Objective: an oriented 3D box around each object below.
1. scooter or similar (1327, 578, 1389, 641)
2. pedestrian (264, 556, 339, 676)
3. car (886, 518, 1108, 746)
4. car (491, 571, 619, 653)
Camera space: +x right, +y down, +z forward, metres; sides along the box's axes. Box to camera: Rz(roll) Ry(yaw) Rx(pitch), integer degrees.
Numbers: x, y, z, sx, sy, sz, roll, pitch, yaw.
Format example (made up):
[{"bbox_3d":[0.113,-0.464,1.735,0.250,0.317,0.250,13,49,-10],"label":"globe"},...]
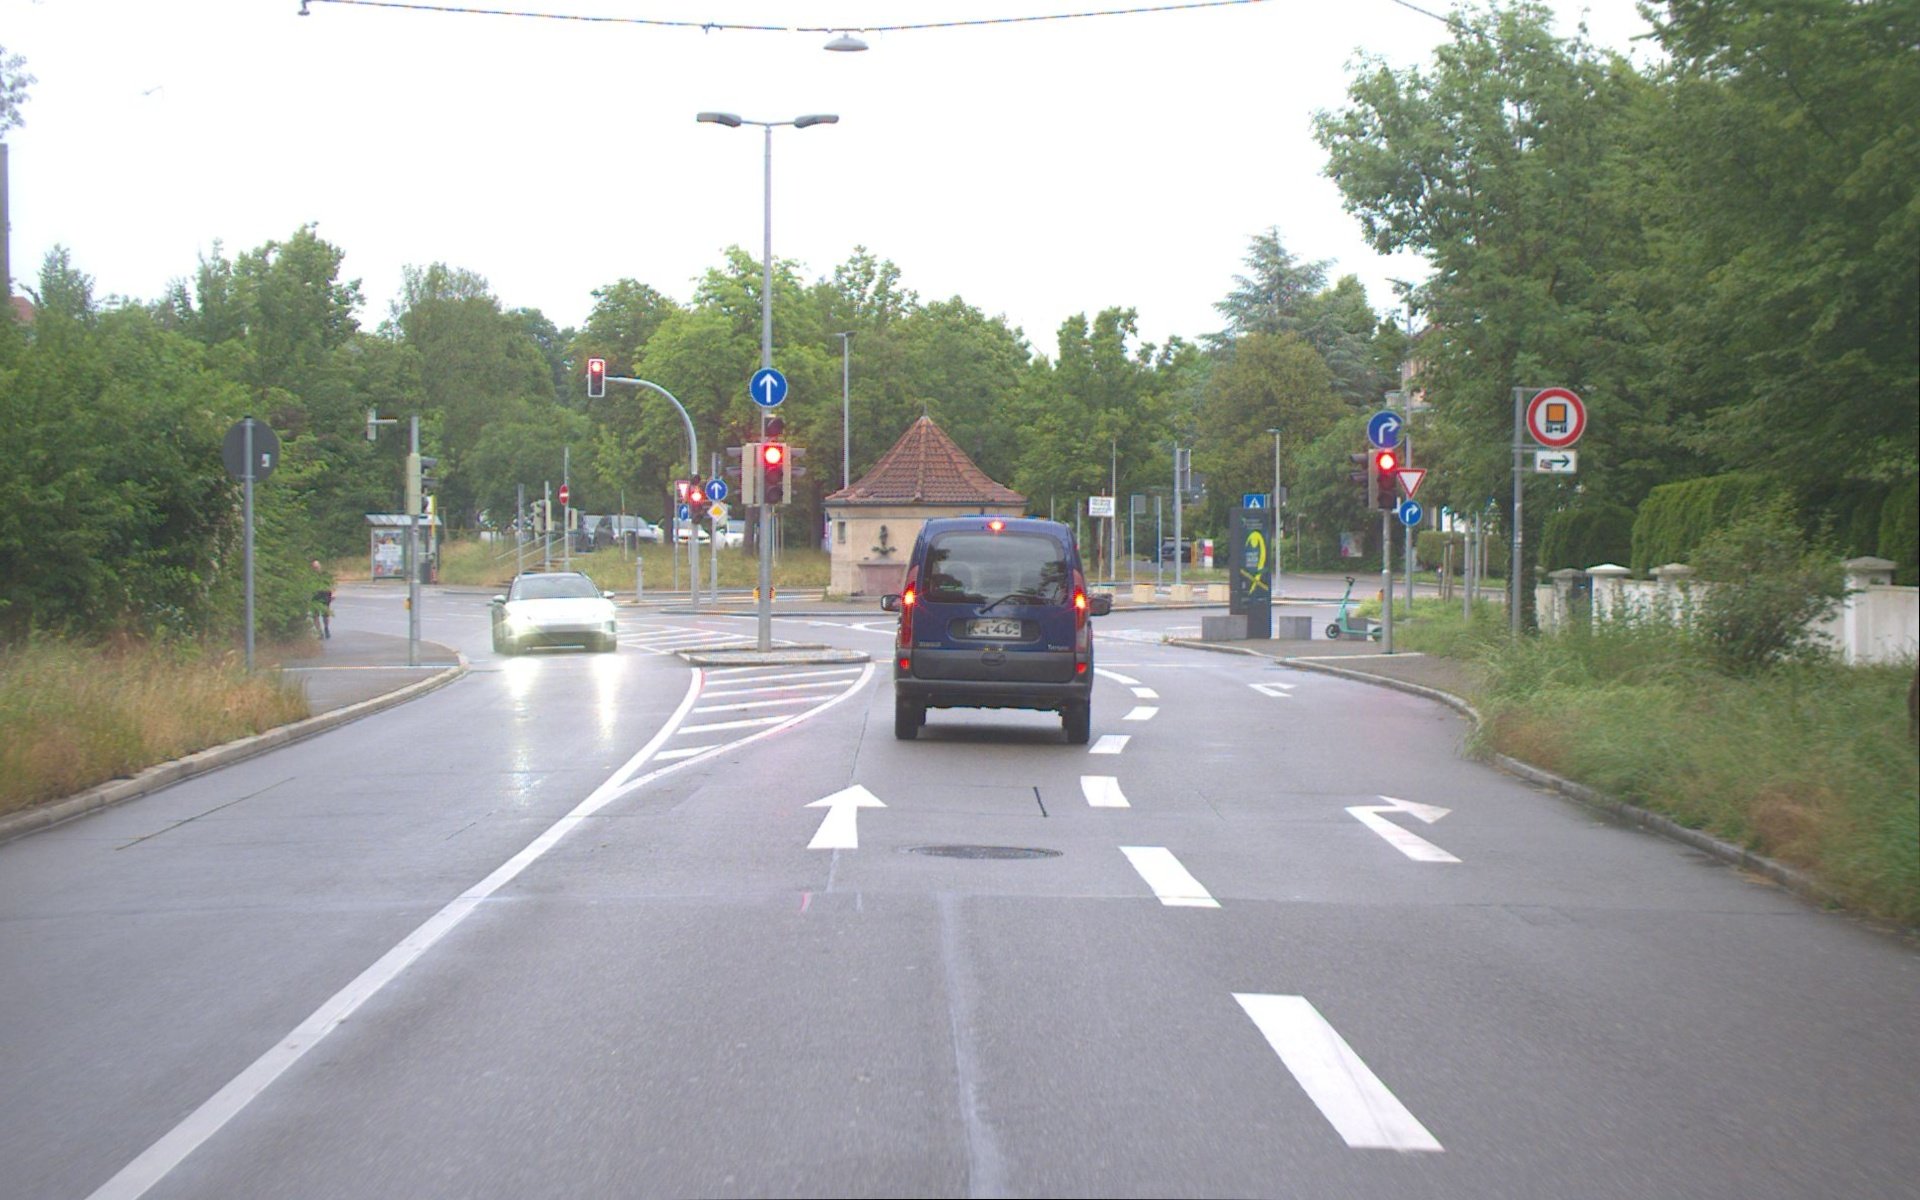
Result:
[{"bbox_3d":[7.717,0.185,66.650,1.149,1.215,0.406,1,-1,0],"label":"scooter or similar"},{"bbox_3d":[-11.123,0.271,58.123,1.088,2.007,1.000,1,0,-4],"label":"pedestrian"},{"bbox_3d":[0.253,0.227,29.393,1.731,1.780,4.000,1,1,-1],"label":"car"},{"bbox_3d":[-7.208,0.185,60.911,1.993,1.307,4.361,-2,1,-9],"label":"car"}]
